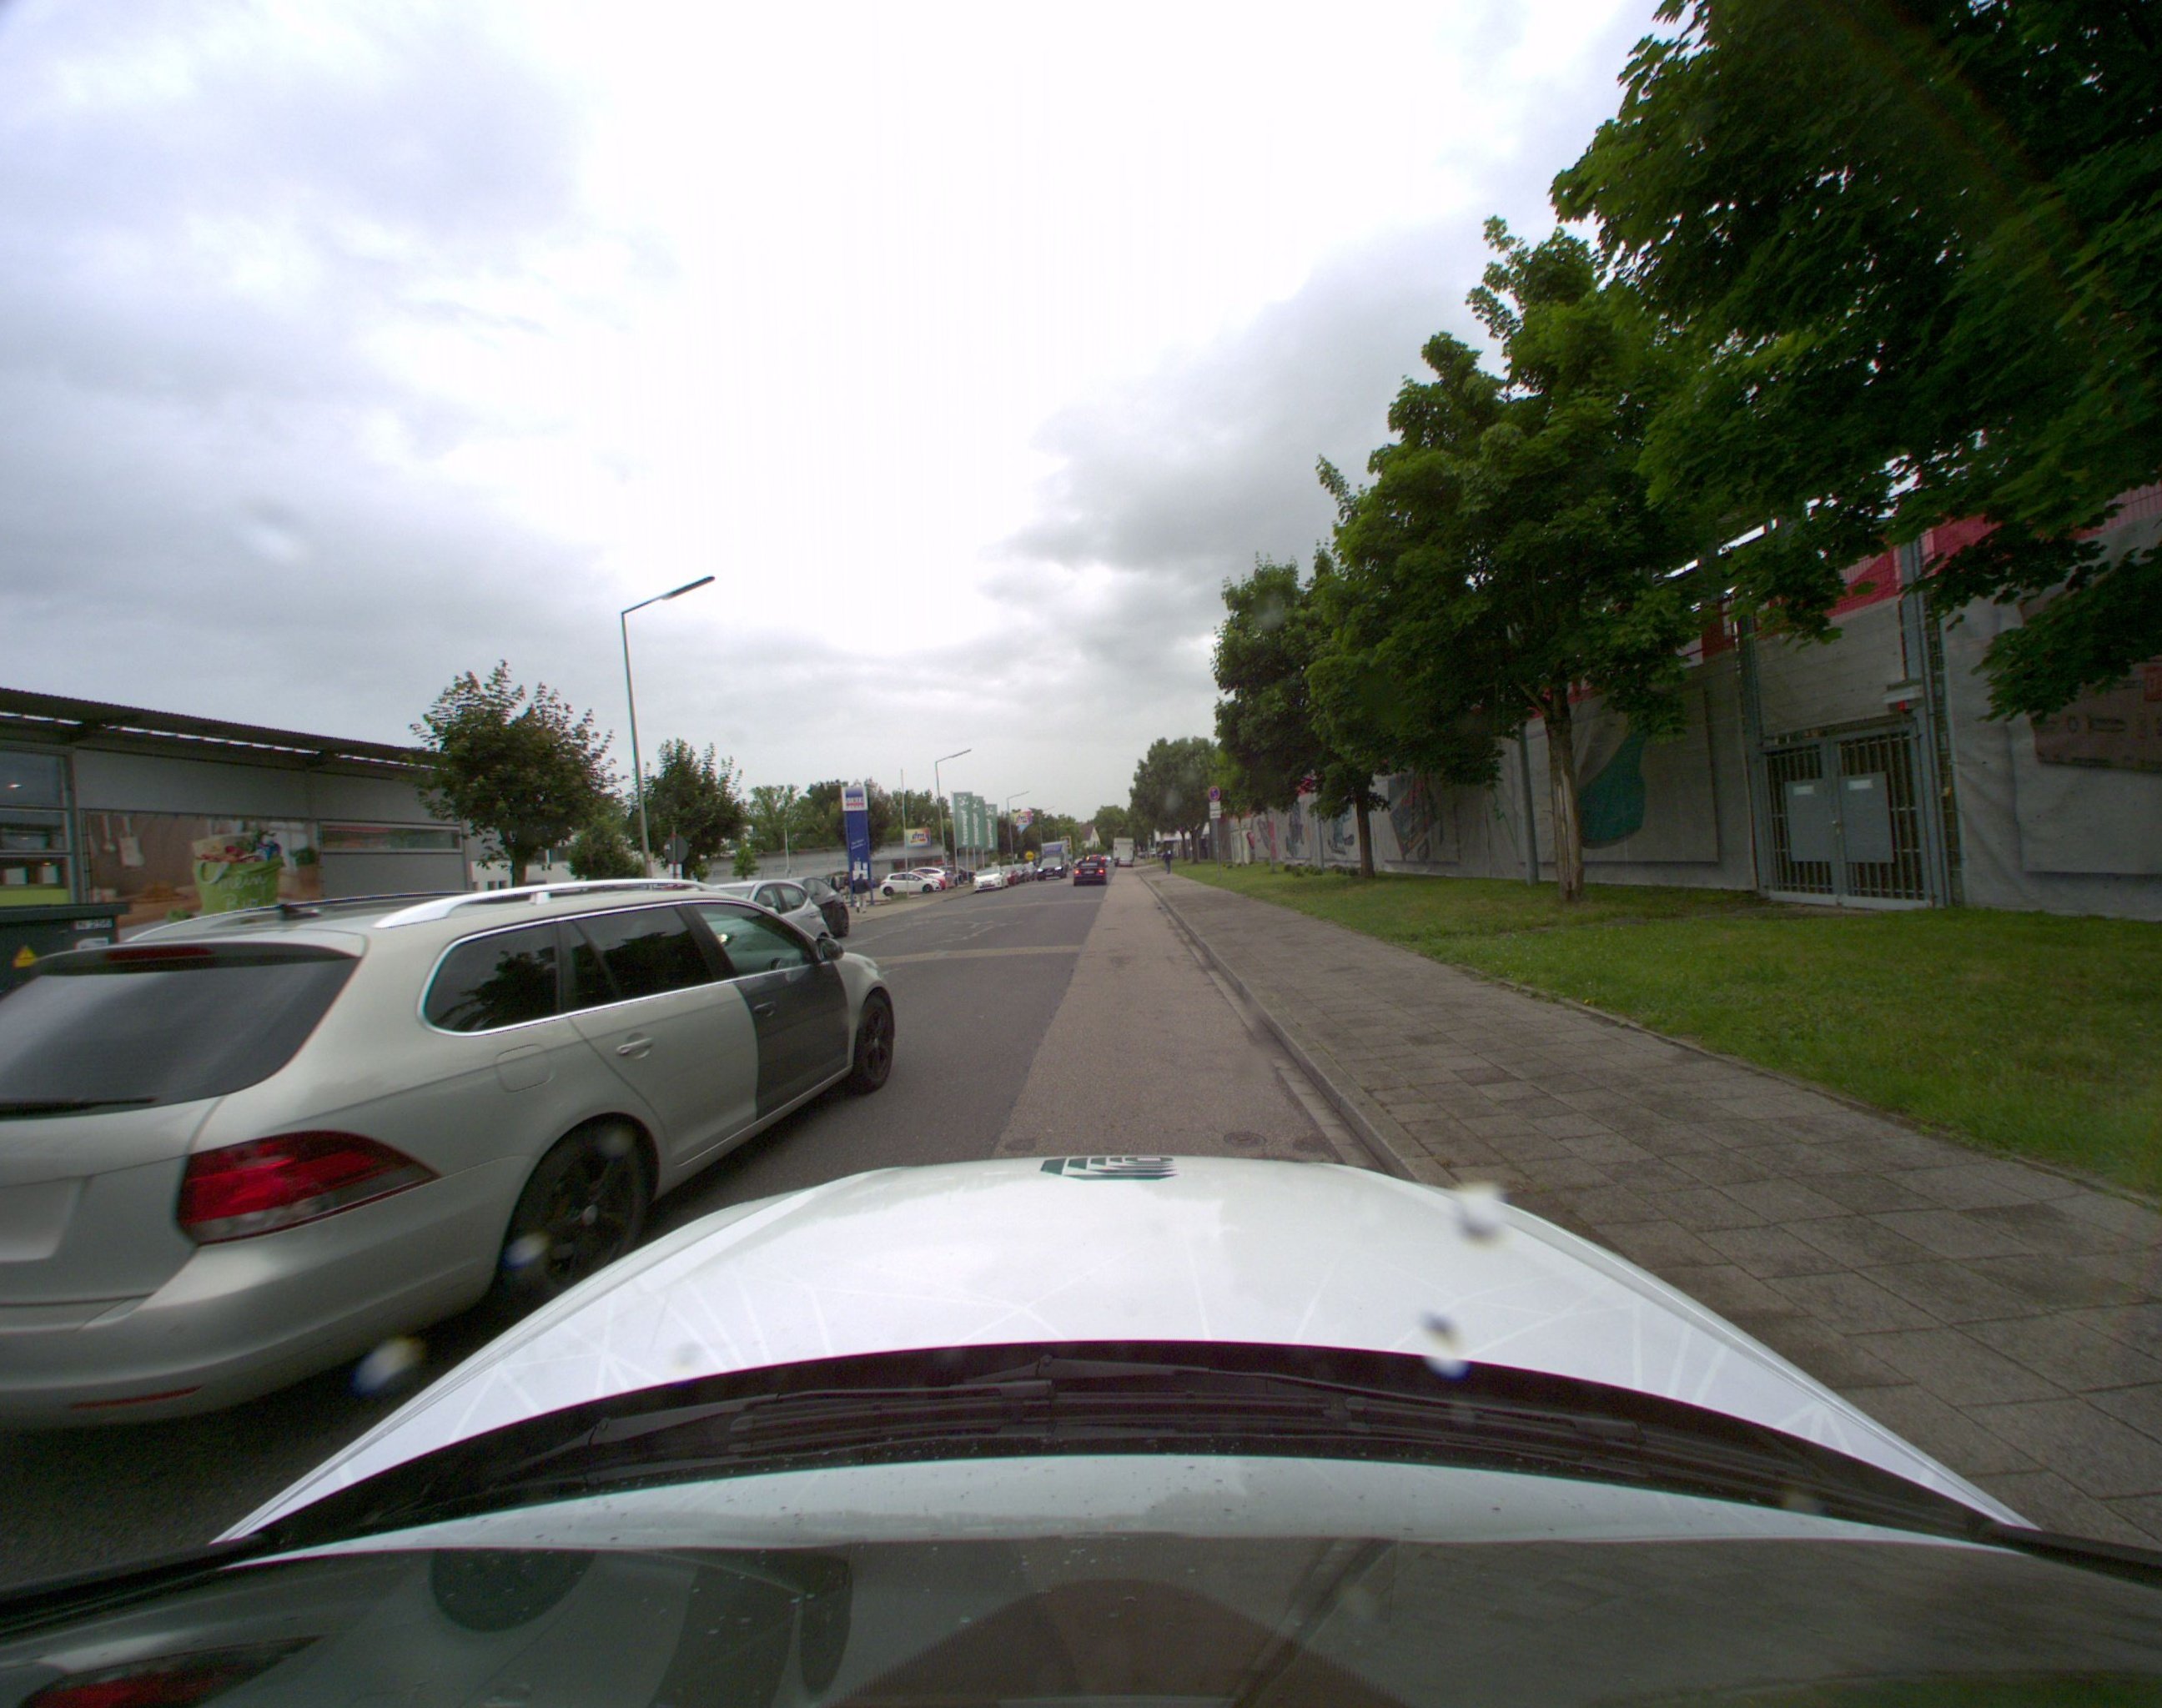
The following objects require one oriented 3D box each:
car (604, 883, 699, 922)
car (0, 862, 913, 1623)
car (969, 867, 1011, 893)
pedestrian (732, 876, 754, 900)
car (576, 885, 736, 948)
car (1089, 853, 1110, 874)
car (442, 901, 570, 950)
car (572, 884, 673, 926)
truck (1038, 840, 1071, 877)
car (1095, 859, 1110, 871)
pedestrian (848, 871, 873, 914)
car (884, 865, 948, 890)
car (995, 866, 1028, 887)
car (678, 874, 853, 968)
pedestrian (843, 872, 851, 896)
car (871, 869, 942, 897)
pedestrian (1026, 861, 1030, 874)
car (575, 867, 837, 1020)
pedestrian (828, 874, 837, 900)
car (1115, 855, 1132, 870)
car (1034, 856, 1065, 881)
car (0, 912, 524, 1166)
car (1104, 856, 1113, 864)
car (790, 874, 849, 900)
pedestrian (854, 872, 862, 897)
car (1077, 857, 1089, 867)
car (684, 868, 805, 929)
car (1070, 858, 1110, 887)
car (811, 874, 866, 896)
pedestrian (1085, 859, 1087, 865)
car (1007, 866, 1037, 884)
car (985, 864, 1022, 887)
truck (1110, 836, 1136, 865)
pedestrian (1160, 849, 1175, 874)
[{"bbox_3d":[-23.045,2.596,43.787,3.971,1.669,1.878,-5,0,3],"label":"car"},{"bbox_3d":[-2.432,0.866,3.867,1.743,1.451,4.307,-5,0,8],"label":"car"},{"bbox_3d":[-5.648,1.608,51.225,1.890,1.367,4.003,-5,0,3],"label":"car"},{"bbox_3d":[-30.717,3.115,74.032,1.394,2.013,1.197,-5,-1,-37],"label":"pedestrian"},{"bbox_3d":[-13.044,1.896,25.159,3.857,1.620,1.929,-3,0,3],"label":"car"},{"bbox_3d":[1.549,0.813,69.623,1.675,1.632,3.758,-5,0,0],"label":"car"},{"bbox_3d":[-22.876,2.801,32.582,4.016,1.485,1.857,-4,0,-33],"label":"car"},{"bbox_3d":[-23.236,2.570,41.378,3.971,1.669,1.878,-5,0,3],"label":"car"},{"bbox_3d":[-3.092,0.538,97.207,2.961,3.955,6.410,-6,0,3],"label":"truck"},{"bbox_3d":[3.020,1.533,115.250,1.878,1.531,4.258,-3,0,4],"label":"car"},{"bbox_3d":[-9.350,1.623,34.597,0.773,1.715,0.696,-4,-1,-2],"label":"pedestrian"},{"bbox_3d":[-11.810,1.664,58.500,4.126,1.463,1.897,-5,0,-3],"label":"car"},{"bbox_3d":[-5.351,1.693,63.220,1.890,1.367,4.003,-5,0,3],"label":"car"},{"bbox_3d":[-6.888,1.385,18.387,1.940,1.526,4.404,-9,-1,1],"label":"car"},{"bbox_3d":[-15.373,1.975,53.533,0.359,1.570,0.502,-4,-1,-8],"label":"pedestrian"},{"bbox_3d":[-11.435,1.874,53.541,4.196,1.463,1.949,-5,0,-5],"label":"car"},{"bbox_3d":[-6.277,1.562,96.423,0.401,1.531,0.485,-5,-1,-3],"label":"pedestrian"},{"bbox_3d":[-4.740,1.035,10.896,1.593,1.528,3.530,-7,-1,2],"label":"car"},{"bbox_3d":[-16.336,2.157,53.504,0.456,1.642,0.372,-4,-1,-15],"label":"pedestrian"},{"bbox_3d":[5.286,1.048,101.552,1.986,1.806,4.001,-3,-1,2],"label":"car"},{"bbox_3d":[-2.338,1.091,62.015,1.986,1.684,4.001,-3,-1,2],"label":"car"},{"bbox_3d":[-7.819,1.509,7.677,1.692,1.367,4.520,-9,-1,2],"label":"car"},{"bbox_3d":[6.040,1.272,179.478,1.878,1.531,4.258,-3,0,4],"label":"car"},{"bbox_3d":[-20.975,2.658,65.325,3.971,1.669,1.878,-5,0,3],"label":"car"},{"bbox_3d":[-14.546,1.976,53.119,0.330,1.570,0.502,-3,-1,-9],"label":"pedestrian"},{"bbox_3d":[0.288,1.262,127.479,1.699,1.546,3.622,-3,-1,2],"label":"car"},{"bbox_3d":[-13.359,1.746,32.505,3.922,2.013,1.758,-5,0,-4],"label":"car"},{"bbox_3d":[0.535,0.971,44.301,1.737,1.358,4.144,-4,-1,6],"label":"car"},{"bbox_3d":[-20.621,2.652,69.266,3.970,1.492,1.788,-5,-1,3],"label":"car"},{"bbox_3d":[0.809,1.225,126.085,0.248,0.976,0.345,-3,-1,18],"label":"pedestrian"},{"bbox_3d":[-4.981,1.761,69.092,1.890,1.367,4.003,-5,0,3],"label":"car"},{"bbox_3d":[-5.444,1.509,57.707,1.890,1.367,4.003,-5,0,3],"label":"car"},{"bbox_3d":[5.624,-0.437,110.807,3.123,3.585,10.054,-3,-1,2],"label":"truck"},{"bbox_3d":[5.793,0.490,54.775,0.915,1.635,0.854,-3,-1,5],"label":"pedestrian"}]
